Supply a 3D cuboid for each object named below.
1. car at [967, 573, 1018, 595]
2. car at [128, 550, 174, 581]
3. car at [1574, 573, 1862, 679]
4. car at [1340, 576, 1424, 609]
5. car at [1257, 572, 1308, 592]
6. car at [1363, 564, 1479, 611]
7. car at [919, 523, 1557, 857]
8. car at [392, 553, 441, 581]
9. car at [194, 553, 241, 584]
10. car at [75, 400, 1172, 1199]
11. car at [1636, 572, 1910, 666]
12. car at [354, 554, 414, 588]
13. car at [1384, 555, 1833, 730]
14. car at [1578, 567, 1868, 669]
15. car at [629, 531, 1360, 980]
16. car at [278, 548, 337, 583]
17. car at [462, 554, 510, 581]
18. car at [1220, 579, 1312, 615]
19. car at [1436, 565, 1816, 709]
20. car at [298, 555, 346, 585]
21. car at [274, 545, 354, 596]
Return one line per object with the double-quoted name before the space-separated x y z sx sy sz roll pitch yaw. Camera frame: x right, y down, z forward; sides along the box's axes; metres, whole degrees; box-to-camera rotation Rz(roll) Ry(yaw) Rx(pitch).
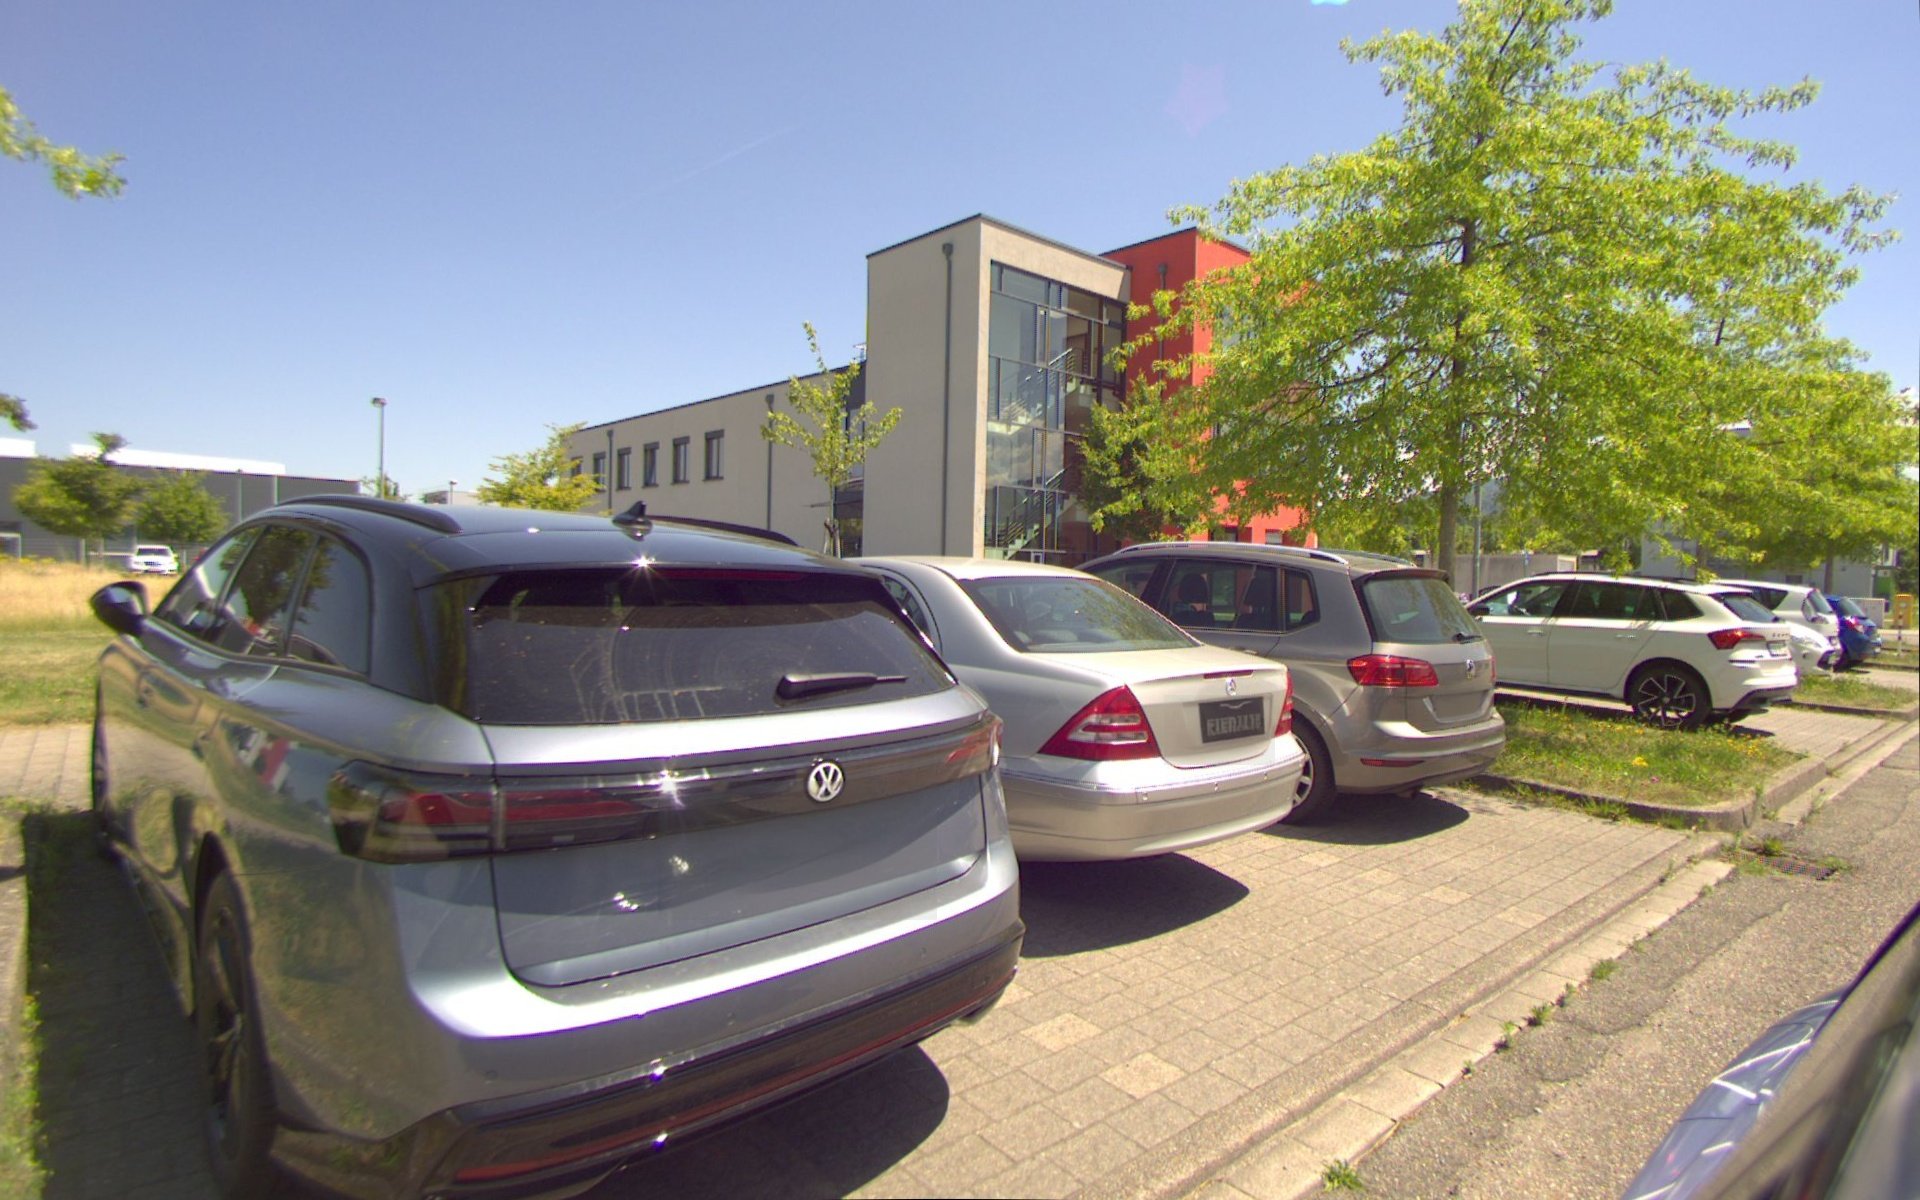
"car" 2.346 -1.172 73.736 1.631 1.487 3.621 -3 4 -42
"car" -40.795 -1.743 50.999 1.689 1.470 3.995 0 3 -41
"car" 12.864 0.363 17.348 1.582 1.481 3.628 1 3 -39
"car" 21.614 -0.401 51.901 1.632 1.519 3.619 -4 4 -44
"car" 26.221 -1.512 82.284 1.630 1.519 3.623 -3 4 -40
"car" 19.068 -0.533 42.011 1.779 1.798 3.994 3 -1 -41
"car" 1.630 0.326 7.115 1.663 1.644 4.057 0 4 -40
"car" -31.672 -1.943 58.936 1.689 1.528 3.995 0 3 -41
"car" -38.720 -1.669 52.756 1.689 1.528 3.995 0 3 -41
"car" -1.785 0.382 3.651 1.882 1.579 4.721 -1 4 -44
"car" 16.474 0.306 20.689 1.695 1.508 4.010 1 4 -37
"car" -27.354 -1.385 47.999 1.690 1.528 3.994 0 3 -42
"car" 7.059 0.333 11.379 1.746 1.572 3.848 1 2 -36
"car" 14.531 0.254 19.481 1.742 1.670 4.121 1 2 -39
"car" -0.195 0.413 5.459 1.616 1.470 4.057 0 4 -40
"car" -29.929 -1.609 46.366 1.690 1.528 3.994 0 3 -42
"car" -29.086 -1.993 62.051 1.689 1.528 3.995 0 3 -41
"car" 14.233 -0.157 47.143 1.758 1.460 3.699 3 0 -44
"car" 8.647 0.364 13.388 1.748 1.543 3.842 0 3 -41
"car" -35.204 -1.665 55.837 1.689 1.528 3.995 0 3 -41
"car" -20.493 -0.959 32.074 1.689 1.528 3.330 0 3 -41
